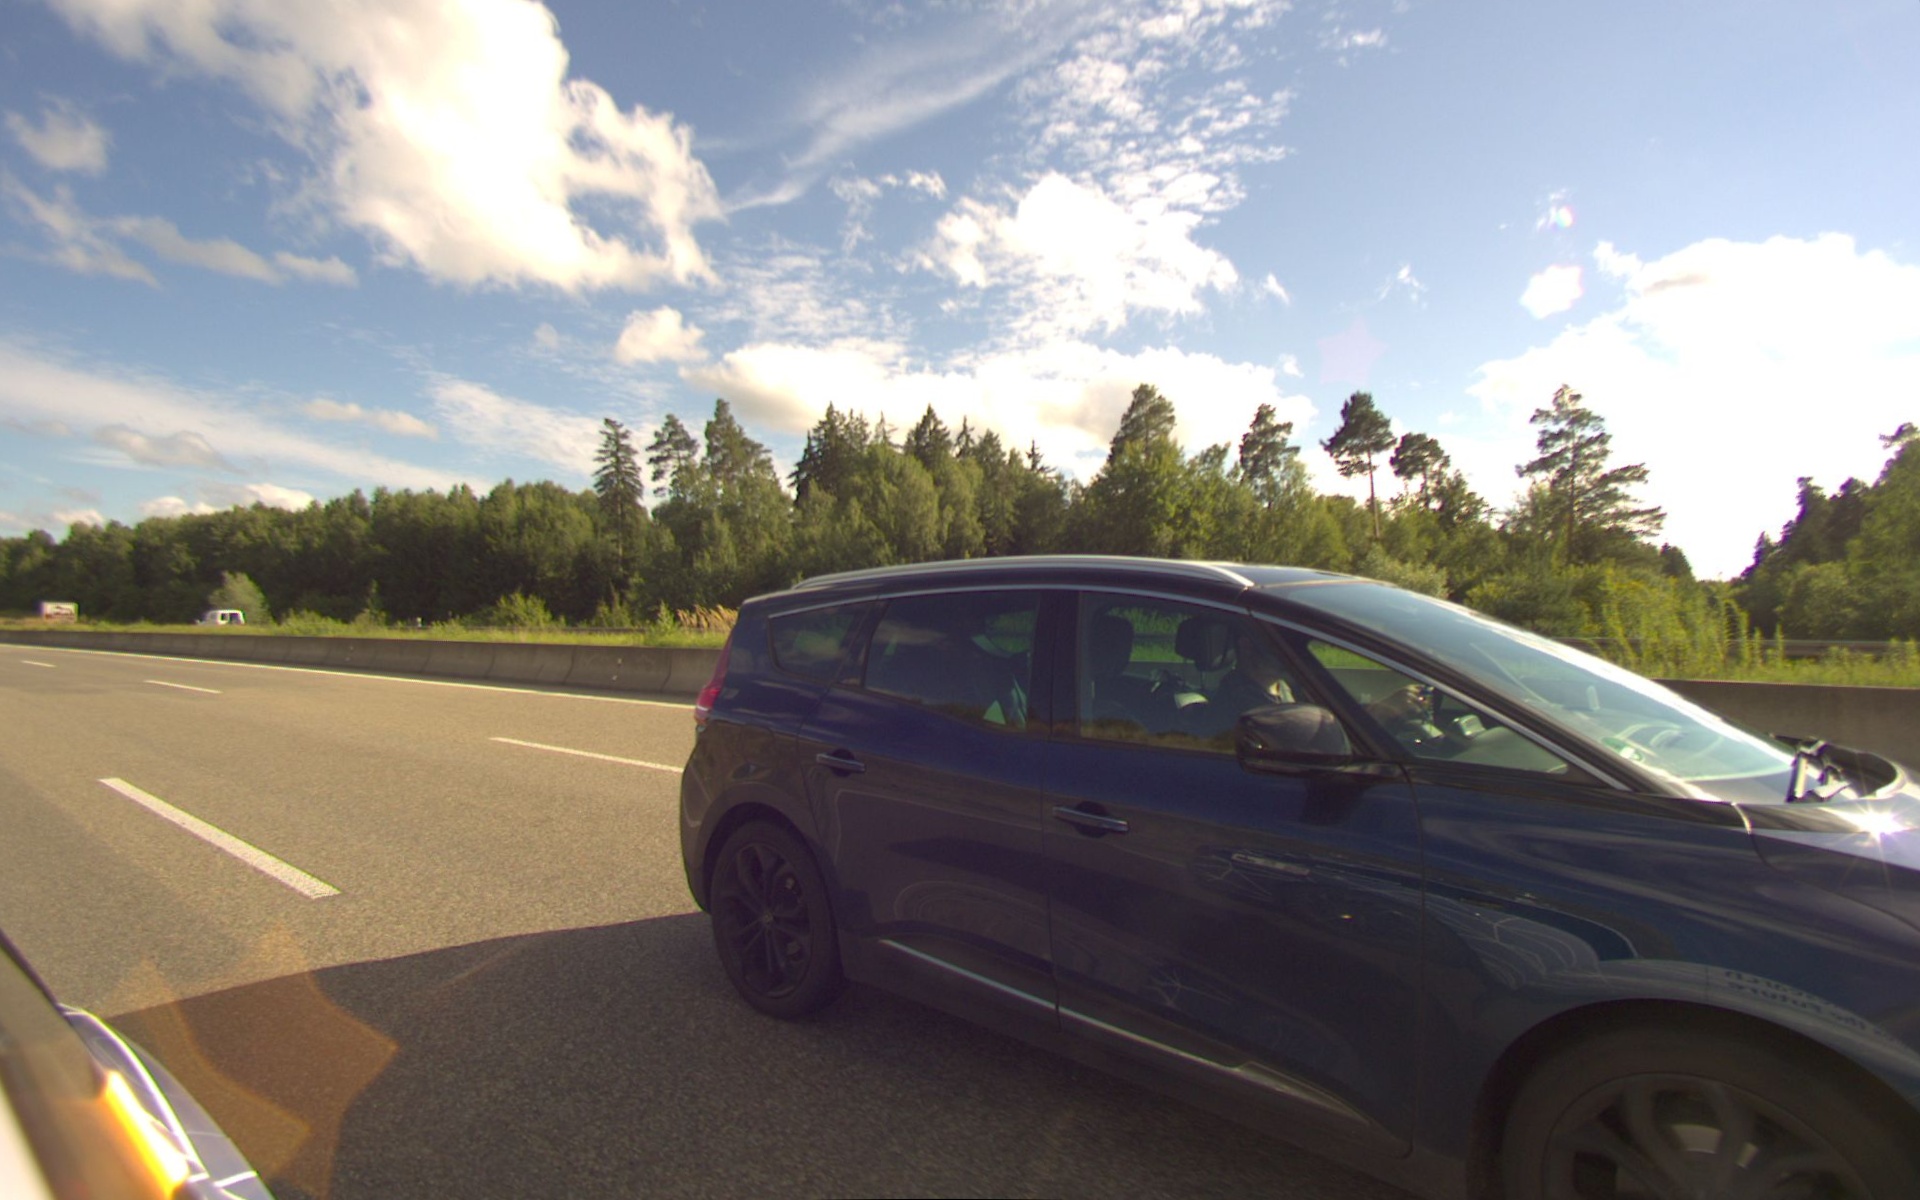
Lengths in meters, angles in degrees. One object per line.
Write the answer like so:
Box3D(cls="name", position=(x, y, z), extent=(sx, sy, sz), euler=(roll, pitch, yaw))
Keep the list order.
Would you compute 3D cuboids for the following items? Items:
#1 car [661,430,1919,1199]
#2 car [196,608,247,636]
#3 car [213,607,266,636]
Box3D(cls="car", position=(1.174, 0.612, 3.149), extent=(4.528, 1.719, 1.972), euler=(-1, 0, 42))
Box3D(cls="car", position=(-56.617, 1.679, 77.505), extent=(5.383, 2.029, 1.973), euler=(-1, -1, 40))
Box3D(cls="car", position=(-53.056, 1.591, 74.459), extent=(5.383, 2.029, 1.973), euler=(-1, -1, 40))
